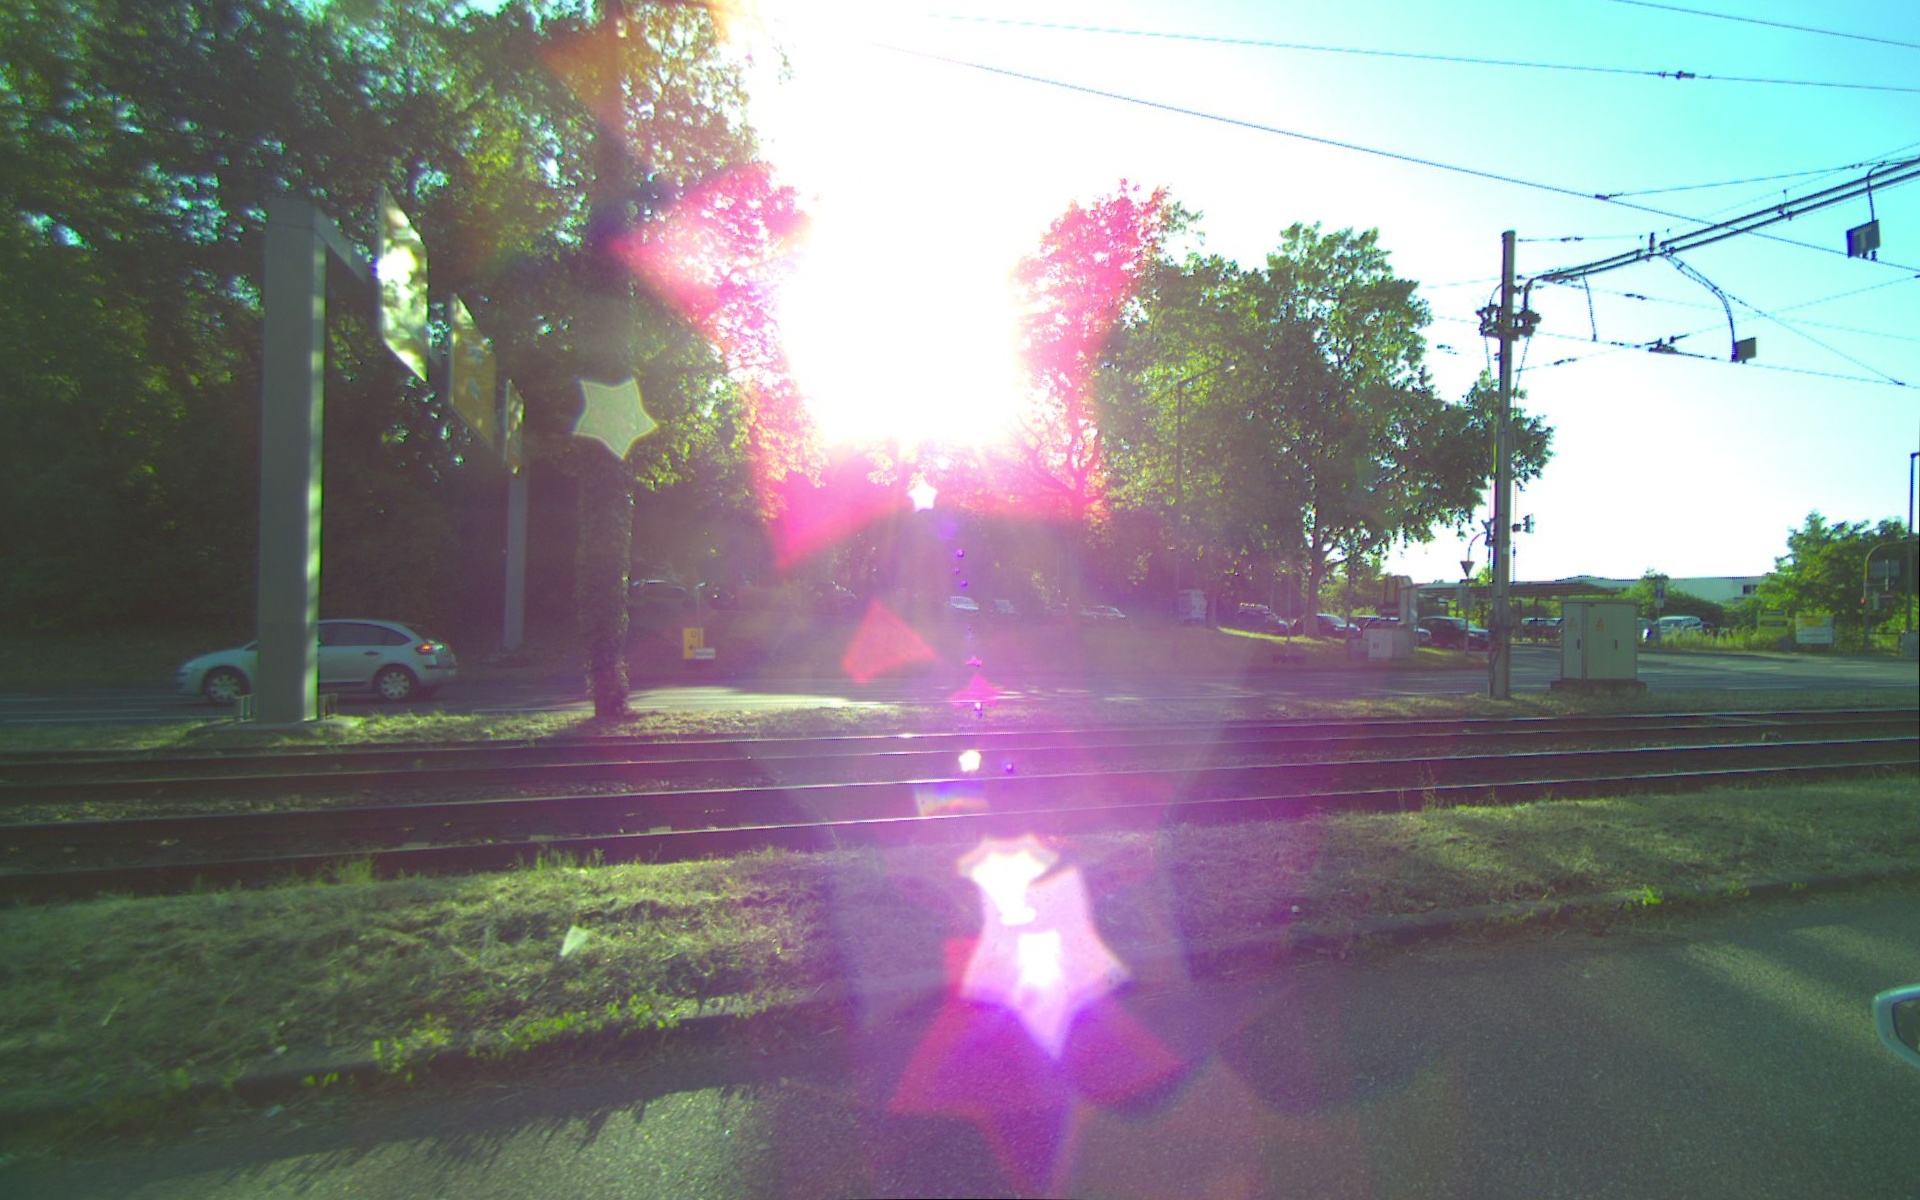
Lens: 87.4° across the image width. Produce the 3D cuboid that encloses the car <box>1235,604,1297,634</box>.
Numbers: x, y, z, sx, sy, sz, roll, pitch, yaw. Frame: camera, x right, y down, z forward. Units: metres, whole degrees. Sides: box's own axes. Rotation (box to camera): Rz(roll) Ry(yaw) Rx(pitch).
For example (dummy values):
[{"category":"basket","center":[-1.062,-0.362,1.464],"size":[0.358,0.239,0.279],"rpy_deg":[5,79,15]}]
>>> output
[{"category":"car","center":[19.698,1.240,64.878],"size":[1.967,1.884,3.987],"rpy_deg":[1,-1,-16]}]

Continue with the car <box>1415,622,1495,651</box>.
[{"category":"car","center":[26.717,1.932,54.341],"size":[1.753,1.405,4.058],"rpy_deg":[1,0,-13]}]

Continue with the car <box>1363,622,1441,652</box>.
[{"category":"car","center":[23.532,1.950,53.677],"size":[1.753,1.405,4.058],"rpy_deg":[1,0,-13]}]

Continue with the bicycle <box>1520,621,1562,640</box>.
[{"category":"bicycle","center":[34.951,1.821,60.425],"size":[2.149,1.079,0.668],"rpy_deg":[1,0,-2]}]

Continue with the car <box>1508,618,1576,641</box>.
[{"category":"car","center":[39.485,2.018,68.158],"size":[3.935,1.461,1.841],"rpy_deg":[1,0,-17]}]

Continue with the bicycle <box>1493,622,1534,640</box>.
[{"category":"bicycle","center":[34.825,1.970,63.241],"size":[2.148,1.079,0.668],"rpy_deg":[1,0,11]}]

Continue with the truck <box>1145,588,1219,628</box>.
[{"category":"truck","center":[20.077,0.729,91.374],"size":[2.691,3.433,8.284],"rpy_deg":[1,0,-18]}]

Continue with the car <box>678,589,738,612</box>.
[{"category":"car","center":[-15.789,0.048,62.905],"size":[3.456,1.350,1.523],"rpy_deg":[1,0,26]}]

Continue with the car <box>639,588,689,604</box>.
[{"category":"car","center":[-22.945,-0.309,77.868],"size":[3.480,1.135,1.356],"rpy_deg":[1,0,-30]}]

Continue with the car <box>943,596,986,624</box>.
[{"category":"car","center":[0.239,0.591,59.684],"size":[1.828,1.550,3.992],"rpy_deg":[1,0,-10]}]

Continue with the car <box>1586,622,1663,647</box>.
[{"category":"car","center":[40.959,2.109,61.916],"size":[3.935,1.461,1.841],"rpy_deg":[1,0,-17]}]

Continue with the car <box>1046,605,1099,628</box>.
[{"category":"car","center":[6.981,1.014,62.518],"size":[1.648,1.390,3.981],"rpy_deg":[1,0,-20]}]

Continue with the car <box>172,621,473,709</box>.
[{"category":"car","center":[-11.163,1.126,17.910],"size":[4.187,1.434,1.654],"rpy_deg":[1,-1,-15]}]

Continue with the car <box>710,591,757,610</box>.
[{"category":"car","center":[-18.404,0.022,81.480],"size":[3.480,1.480,1.356],"rpy_deg":[1,0,-30]}]

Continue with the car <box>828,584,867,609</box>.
[{"category":"car","center":[-6.479,-0.188,57.440],"size":[1.500,1.350,3.507],"rpy_deg":[1,0,-18]}]

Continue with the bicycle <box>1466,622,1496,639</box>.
[{"category":"bicycle","center":[33.764,1.959,65.049],"size":[2.166,1.079,0.663],"rpy_deg":[1,0,-30]}]

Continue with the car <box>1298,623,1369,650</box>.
[{"category":"car","center":[21.854,2.116,58.955],"size":[1.756,1.405,4.052],"rpy_deg":[1,0,-18]}]

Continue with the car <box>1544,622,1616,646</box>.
[{"category":"car","center":[40.200,2.175,65.183],"size":[3.935,1.461,1.841],"rpy_deg":[1,0,-17]}]

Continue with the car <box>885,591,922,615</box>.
[{"category":"car","center":[-3.350,0.164,59.230],"size":[1.556,1.350,3.512],"rpy_deg":[1,0,-14]}]

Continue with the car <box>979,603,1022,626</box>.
[{"category":"car","center":[2.872,1.010,72.446],"size":[1.892,1.550,3.986],"rpy_deg":[1,0,-17]}]

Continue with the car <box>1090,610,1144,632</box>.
[{"category":"car","center":[9.941,1.300,63.803],"size":[1.648,1.277,3.981],"rpy_deg":[1,0,-20]}]
